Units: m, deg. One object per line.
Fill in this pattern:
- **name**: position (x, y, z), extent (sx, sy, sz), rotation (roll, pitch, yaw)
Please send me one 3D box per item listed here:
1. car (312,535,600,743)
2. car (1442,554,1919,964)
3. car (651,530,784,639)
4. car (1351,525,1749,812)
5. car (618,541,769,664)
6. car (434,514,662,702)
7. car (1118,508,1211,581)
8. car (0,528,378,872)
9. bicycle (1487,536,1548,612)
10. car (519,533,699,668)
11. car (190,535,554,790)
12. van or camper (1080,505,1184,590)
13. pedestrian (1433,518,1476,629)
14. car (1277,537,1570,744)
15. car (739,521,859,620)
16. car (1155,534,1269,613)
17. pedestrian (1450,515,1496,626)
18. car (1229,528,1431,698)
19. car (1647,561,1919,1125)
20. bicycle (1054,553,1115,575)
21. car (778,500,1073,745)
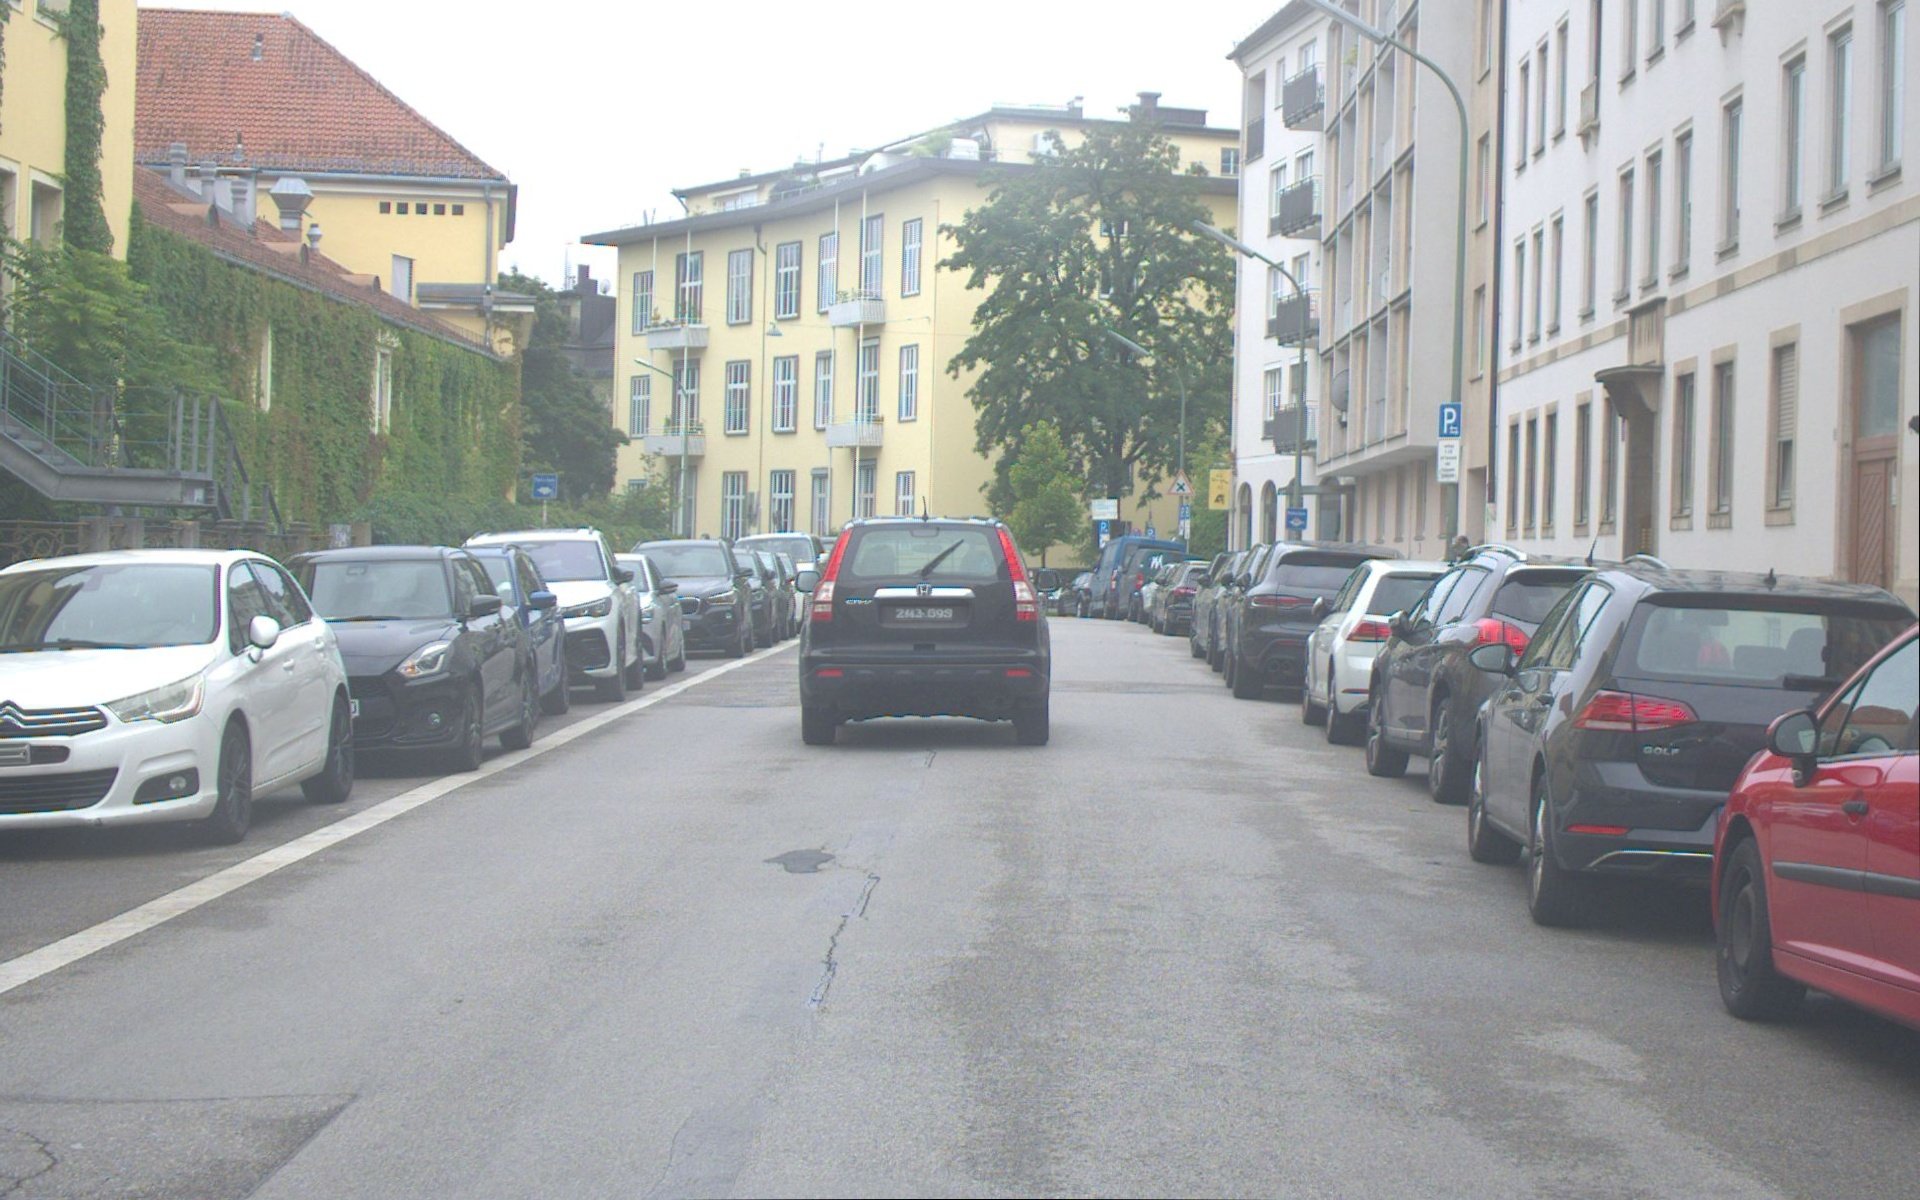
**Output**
- **car**: position (-4.078, 0.262, 28.384), extent (1.680, 1.500, 3.974), rotation (-2, 1, 1)
- **car**: position (3.193, 0.576, 14.935), extent (1.692, 1.446, 4.083), rotation (3, 1, 2)
- **car**: position (-3.658, -0.268, 52.396), extent (1.781, 1.532, 4.149), rotation (0, 2, -1)
- **car**: position (3.647, 0.355, 21.937), extent (1.692, 1.578, 4.083), rotation (3, 1, -1)
- **car**: position (-3.569, 0.002, 46.652), extent (1.781, 1.532, 4.196), rotation (0, 2, -1)
- **car**: position (-3.904, 0.021, 33.189), extent (1.680, 1.628, 4.357), rotation (-2, 1, -1)
- **car**: position (5.168, -1.440, 87.531), extent (1.964, 1.810, 4.936), rotation (0, 2, -1)
- **car**: position (-4.330, 0.436, 17.901), extent (1.723, 1.522, 4.087), rotation (-2, 1, 2)
- **bicycle**: position (8.810, -0.423, 54.387), extent (0.659, 1.159, 2.028), rotation (-1, 1, 1)
- **car**: position (-3.931, -0.031, 39.035), extent (1.680, 1.421, 3.895), rotation (-1, 1, -1)
- **car**: position (-3.889, 0.353, 23.349), extent (1.680, 1.490, 3.986), rotation (-2, 1, 1)
- **van or camper**: position (4.624, -1.439, 93.203), extent (2.060, 2.223, 5.439), rotation (-1, 1, -5)
- **pedestrian**: position (7.101, -0.383, 49.336), extent (0.531, 1.579, 0.560), rotation (-1, 1, 1)
- **car**: position (3.683, 0.270, 27.945), extent (1.692, 1.458, 4.083), rotation (3, 1, -1)
- **car**: position (-3.139, -0.618, 67.959), extent (1.993, 1.869, 4.758), rotation (0, 2, 2)
- **car**: position (4.794, -0.529, 65.833), extent (1.796, 1.415, 4.483), rotation (-1, 1, 0)
- **pedestrian**: position (7.716, -0.453, 51.700), extent (0.596, 1.648, 0.630), rotation (-1, 1, 1)
- **car**: position (3.691, 0.076, 34.926), extent (1.778, 1.579, 4.329), rotation (1, 1, 3)
- **car**: position (3.350, 0.687, 10.183), extent (1.598, 1.446, 4.302), rotation (4, 1, -1)
- **bicycle**: position (4.685, -1.363, 129.779), extent (2.211, 0.776, 0.610), rotation (1, 1, 14)
- **car**: position (-0.167, 0.106, 26.193), extent (1.995, 1.688, 4.380), rotation (-1, 1, 3)
